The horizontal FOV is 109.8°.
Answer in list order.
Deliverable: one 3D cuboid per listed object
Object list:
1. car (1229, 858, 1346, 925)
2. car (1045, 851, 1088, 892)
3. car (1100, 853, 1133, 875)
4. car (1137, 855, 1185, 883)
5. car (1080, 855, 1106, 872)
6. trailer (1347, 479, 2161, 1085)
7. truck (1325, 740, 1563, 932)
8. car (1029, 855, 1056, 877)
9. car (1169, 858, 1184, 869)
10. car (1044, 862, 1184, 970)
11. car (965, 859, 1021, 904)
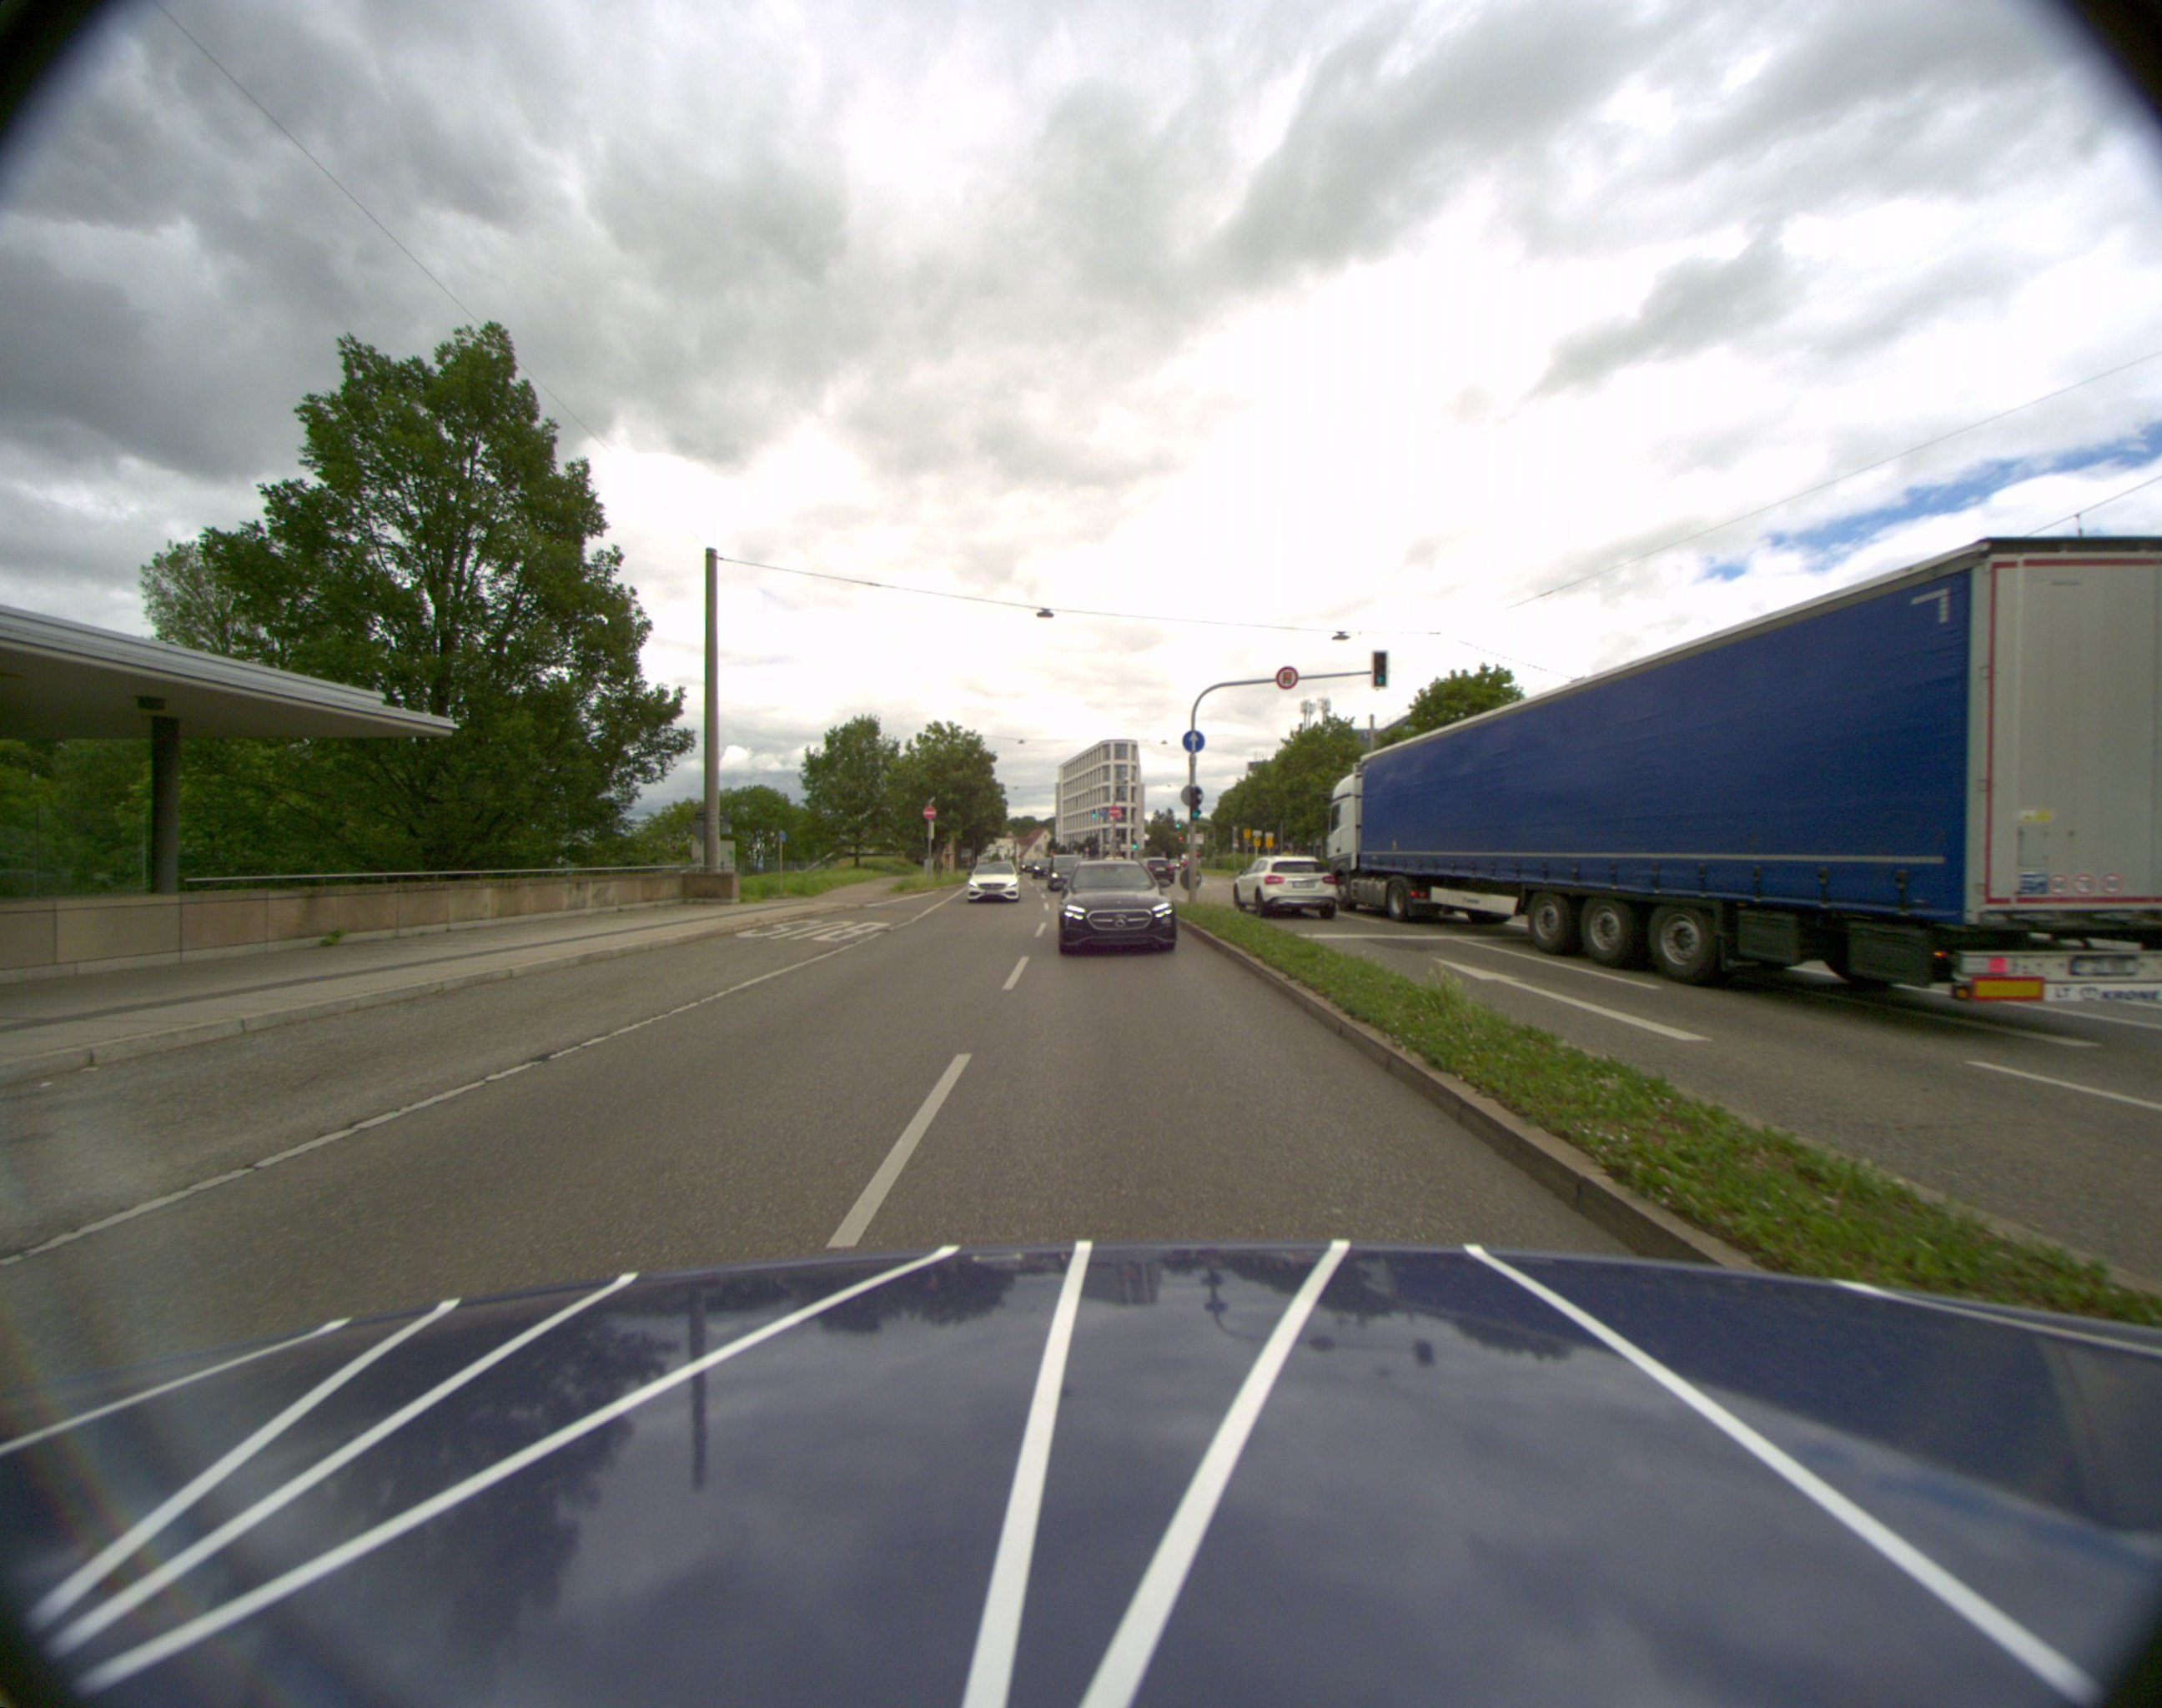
[{"bbox_3d":[5.104,0.865,19.388,1.791,1.507,4.364,0,0,0],"label":"car"},{"bbox_3d":[-0.605,0.760,35.256,1.735,1.680,4.368,-1,1,2],"label":"car"},{"bbox_3d":[2.637,0.725,57.742,1.917,1.585,4.813,0,0,-5],"label":"car"},{"bbox_3d":[4.484,0.806,43.253,1.999,1.450,4.771,0,0,-3],"label":"car"},{"bbox_3d":[1.156,0.872,73.581,1.955,1.585,4.770,0,0,-6],"label":"car"},{"bbox_3d":[8.423,-0.493,12.735,3.109,4.244,14.848,0,0,2],"label":"trailer"},{"bbox_3d":[8.553,-0.378,18.935,3.098,3.998,6.156,0,0,1],"label":"truck"},{"bbox_3d":[-2.736,0.837,54.675,1.735,1.474,4.369,-1,0,0],"label":"car"},{"bbox_3d":[13.182,1.267,105.317,1.953,1.463,4.544,0,0,5],"label":"car"},{"bbox_3d":[0.390,0.954,13.819,1.873,1.542,4.770,0,0,-6],"label":"car"},{"bbox_3d":[-3.250,0.945,28.271,1.873,1.496,4.770,0,0,-6],"label":"car"}]
